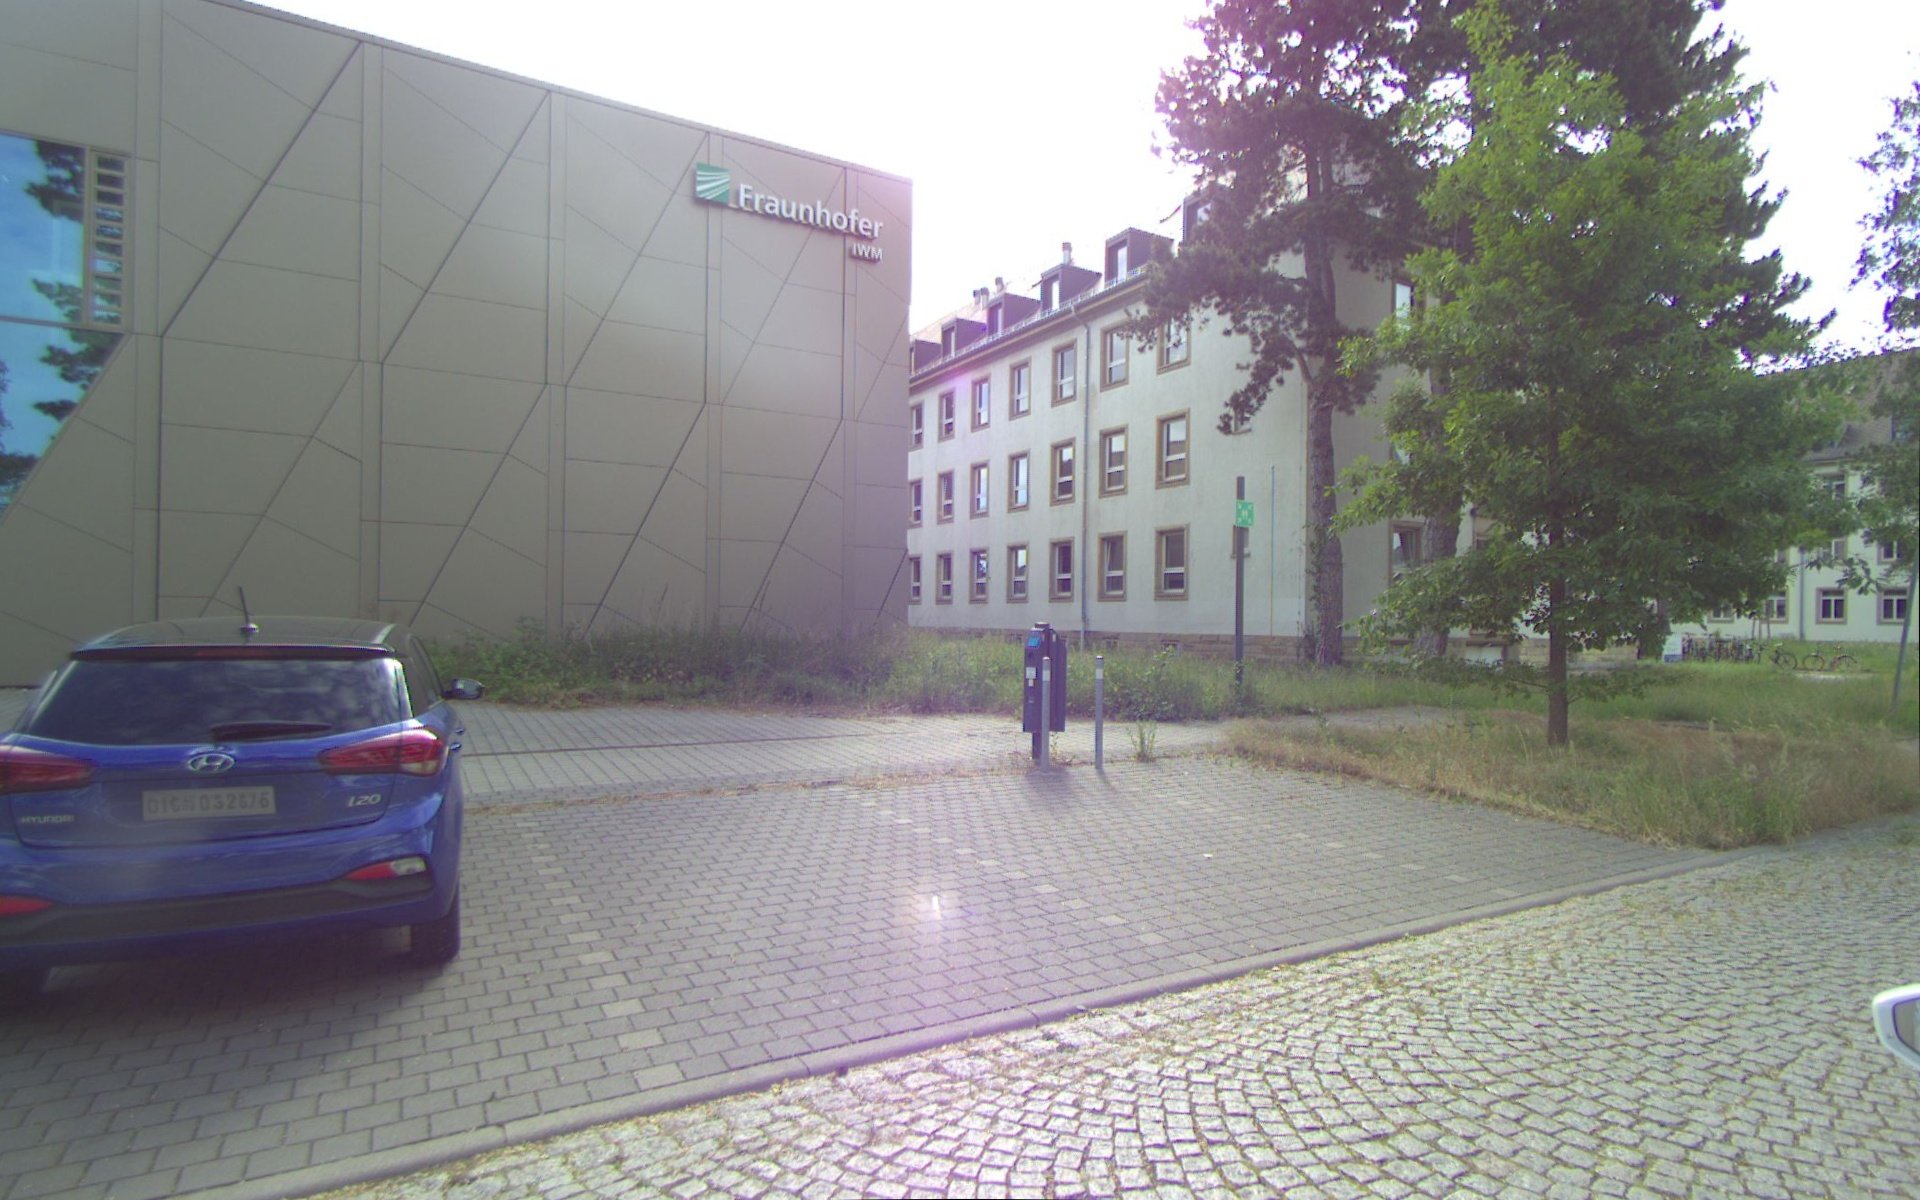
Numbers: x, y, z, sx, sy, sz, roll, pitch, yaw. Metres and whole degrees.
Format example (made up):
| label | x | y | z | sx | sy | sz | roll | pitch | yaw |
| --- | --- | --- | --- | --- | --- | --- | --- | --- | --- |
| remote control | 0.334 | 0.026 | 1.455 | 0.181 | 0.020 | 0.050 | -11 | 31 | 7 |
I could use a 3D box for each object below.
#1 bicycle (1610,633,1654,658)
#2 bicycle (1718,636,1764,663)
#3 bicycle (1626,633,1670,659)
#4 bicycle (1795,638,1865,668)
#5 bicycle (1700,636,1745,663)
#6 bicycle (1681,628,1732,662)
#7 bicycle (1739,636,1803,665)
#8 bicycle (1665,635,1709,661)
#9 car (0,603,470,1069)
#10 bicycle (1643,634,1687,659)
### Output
| label | x | y | z | sx | sy | sz | roll | pitch | yaw |
| --- | --- | --- | --- | --- | --- | --- | --- | --- | --- |
| bicycle | 30.456 | 2.048 | 45.520 | 2.246 | 1.090 | 0.732 | 1 | -1 | -30 |
| bicycle | 32.486 | 2.055 | 41.769 | 2.246 | 1.090 | 0.732 | 1 | -1 | -30 |
| bicycle | 30.733 | 2.048 | 44.861 | 2.246 | 1.090 | 0.732 | 1 | -1 | -30 |
| bicycle | 33.085 | 1.996 | 38.217 | 0.821 | 1.090 | 1.849 | 1 | -1 | -27 |
| bicycle | 32.108 | 2.065 | 42.289 | 2.246 | 1.090 | 0.732 | 1 | -1 | -30 |
| bicycle | 32.053 | 1.931 | 43.118 | 2.679 | 1.404 | 0.732 | 1 | -1 | -30 |
| bicycle | 32.141 | 2.003 | 39.844 | 0.729 | 1.090 | 1.849 | 1 | -1 | -27 |
| bicycle | 31.757 | 2.074 | 43.871 | 2.246 | 1.090 | 0.732 | 1 | -1 | -30 |
| car | -3.621 | 0.815 | 5.282 | 1.828 | 1.498 | 3.752 | 1 | 0 | -27 |
| bicycle | 31.026 | 2.043 | 44.186 | 2.246 | 1.090 | 0.732 | 1 | -1 | -30 |
